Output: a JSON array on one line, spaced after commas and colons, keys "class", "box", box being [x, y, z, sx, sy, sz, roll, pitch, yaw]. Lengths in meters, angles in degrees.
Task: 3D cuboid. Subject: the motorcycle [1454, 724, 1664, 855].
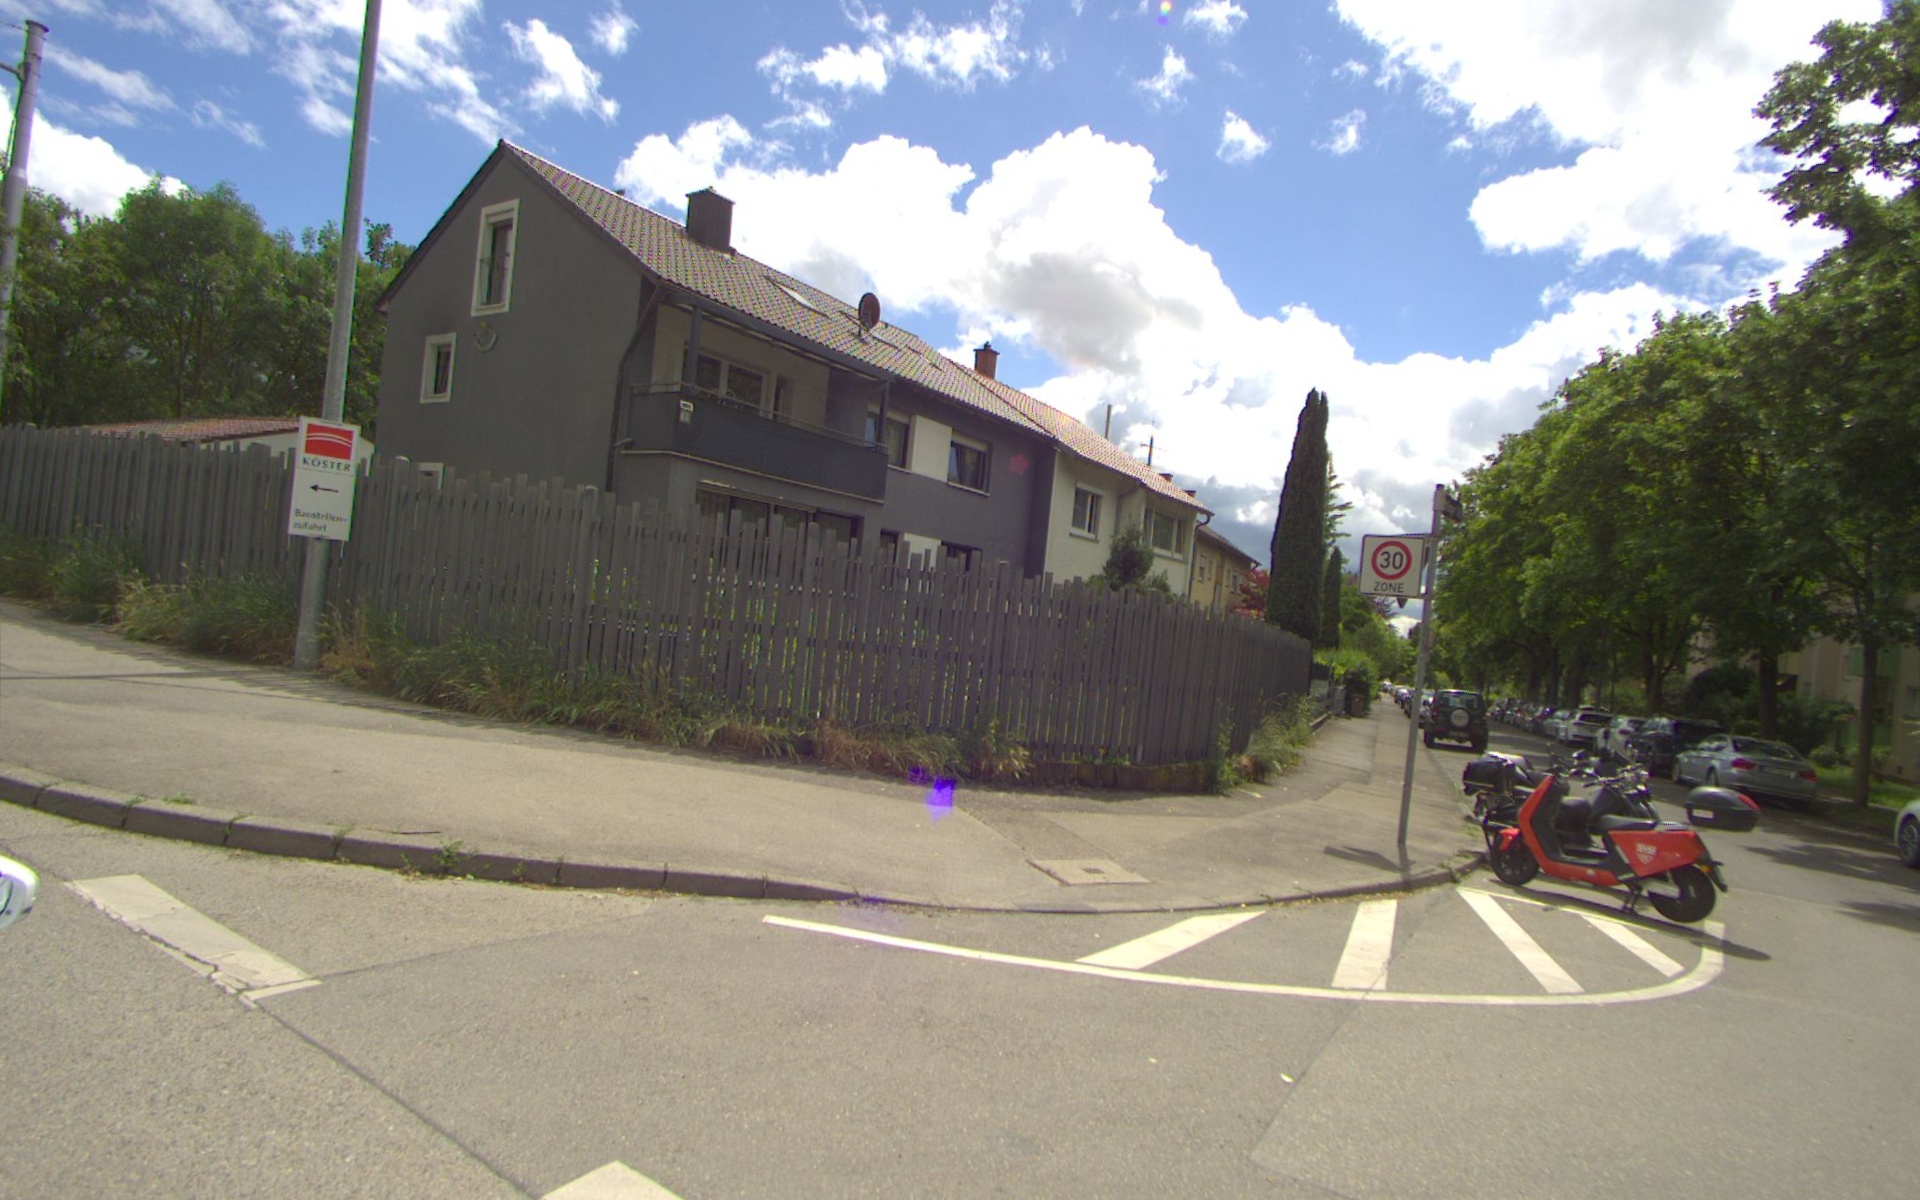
[{"class": "motorcycle", "box": [7.133, 2.222, 12.072, 0.656, 1.162, 1.970, 8, -2, -42]}]

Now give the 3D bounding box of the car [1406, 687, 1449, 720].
[{"class": "car", "box": [23.995, 5.298, 51.723, 1.710, 1.335, 3.959, 6, -1, 22]}]

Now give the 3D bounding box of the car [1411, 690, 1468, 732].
[{"class": "car", "box": [19.365, 4.457, 40.757, 1.710, 1.335, 3.959, 6, -1, 22]}]

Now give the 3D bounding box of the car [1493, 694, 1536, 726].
[{"class": "car", "box": [32.503, 6.421, 59.034, 1.568, 1.524, 3.959, 6, -1, 22]}]

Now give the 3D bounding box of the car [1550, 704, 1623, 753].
[{"class": "car", "box": [24.040, 4.887, 38.724, 1.568, 1.428, 3.959, 6, -1, 22]}]

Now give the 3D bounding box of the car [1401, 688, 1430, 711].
[{"class": "car", "box": [32.149, 7.015, 71.021, 1.710, 1.335, 3.958, 6, -1, 24]}]

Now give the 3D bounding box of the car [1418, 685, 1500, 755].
[{"class": "car", "box": [14.626, 3.458, 29.676, 1.710, 1.659, 3.959, 6, -1, 22]}]

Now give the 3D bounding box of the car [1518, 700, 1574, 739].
[{"class": "car", "box": [27.808, 5.655, 47.847, 1.568, 1.428, 3.959, 6, -1, 22]}]

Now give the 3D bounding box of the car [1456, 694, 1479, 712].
[{"class": "car", "box": [51.016, 10.330, 101.168, 1.568, 1.524, 3.959, 6, -1, 22]}]

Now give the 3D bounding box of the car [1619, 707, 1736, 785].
[{"class": "car", "box": [19.713, 3.967, 27.821, 1.568, 1.640, 3.959, 6, -1, 22]}]

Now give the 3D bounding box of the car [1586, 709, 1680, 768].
[{"class": "car", "box": [21.673, 4.404, 32.546, 1.568, 1.428, 3.959, 6, -1, 22]}]

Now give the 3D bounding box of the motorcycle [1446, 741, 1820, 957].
[{"class": "motorcycle", "box": [5.444, 1.950, 8.322, 0.656, 1.162, 2.397, 8, -2, -41]}]

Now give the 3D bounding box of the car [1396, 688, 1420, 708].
[{"class": "car", "box": [38.132, 8.319, 85.651, 1.710, 1.335, 3.958, 6, -1, 24]}]

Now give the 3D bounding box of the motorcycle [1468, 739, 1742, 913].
[{"class": "motorcycle", "box": [5.979, 2.042, 9.431, 0.656, 1.162, 1.970, 8, -2, -42]}]

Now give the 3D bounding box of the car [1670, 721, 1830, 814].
[{"class": "car", "box": [17.875, 3.726, 22.981, 1.660, 1.525, 3.959, 6, -1, 22]}]

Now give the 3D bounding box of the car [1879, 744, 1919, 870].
[{"class": "car", "box": [13.033, 2.782, 11.859, 1.749, 1.582, 4.018, 8, -1, 22]}]
